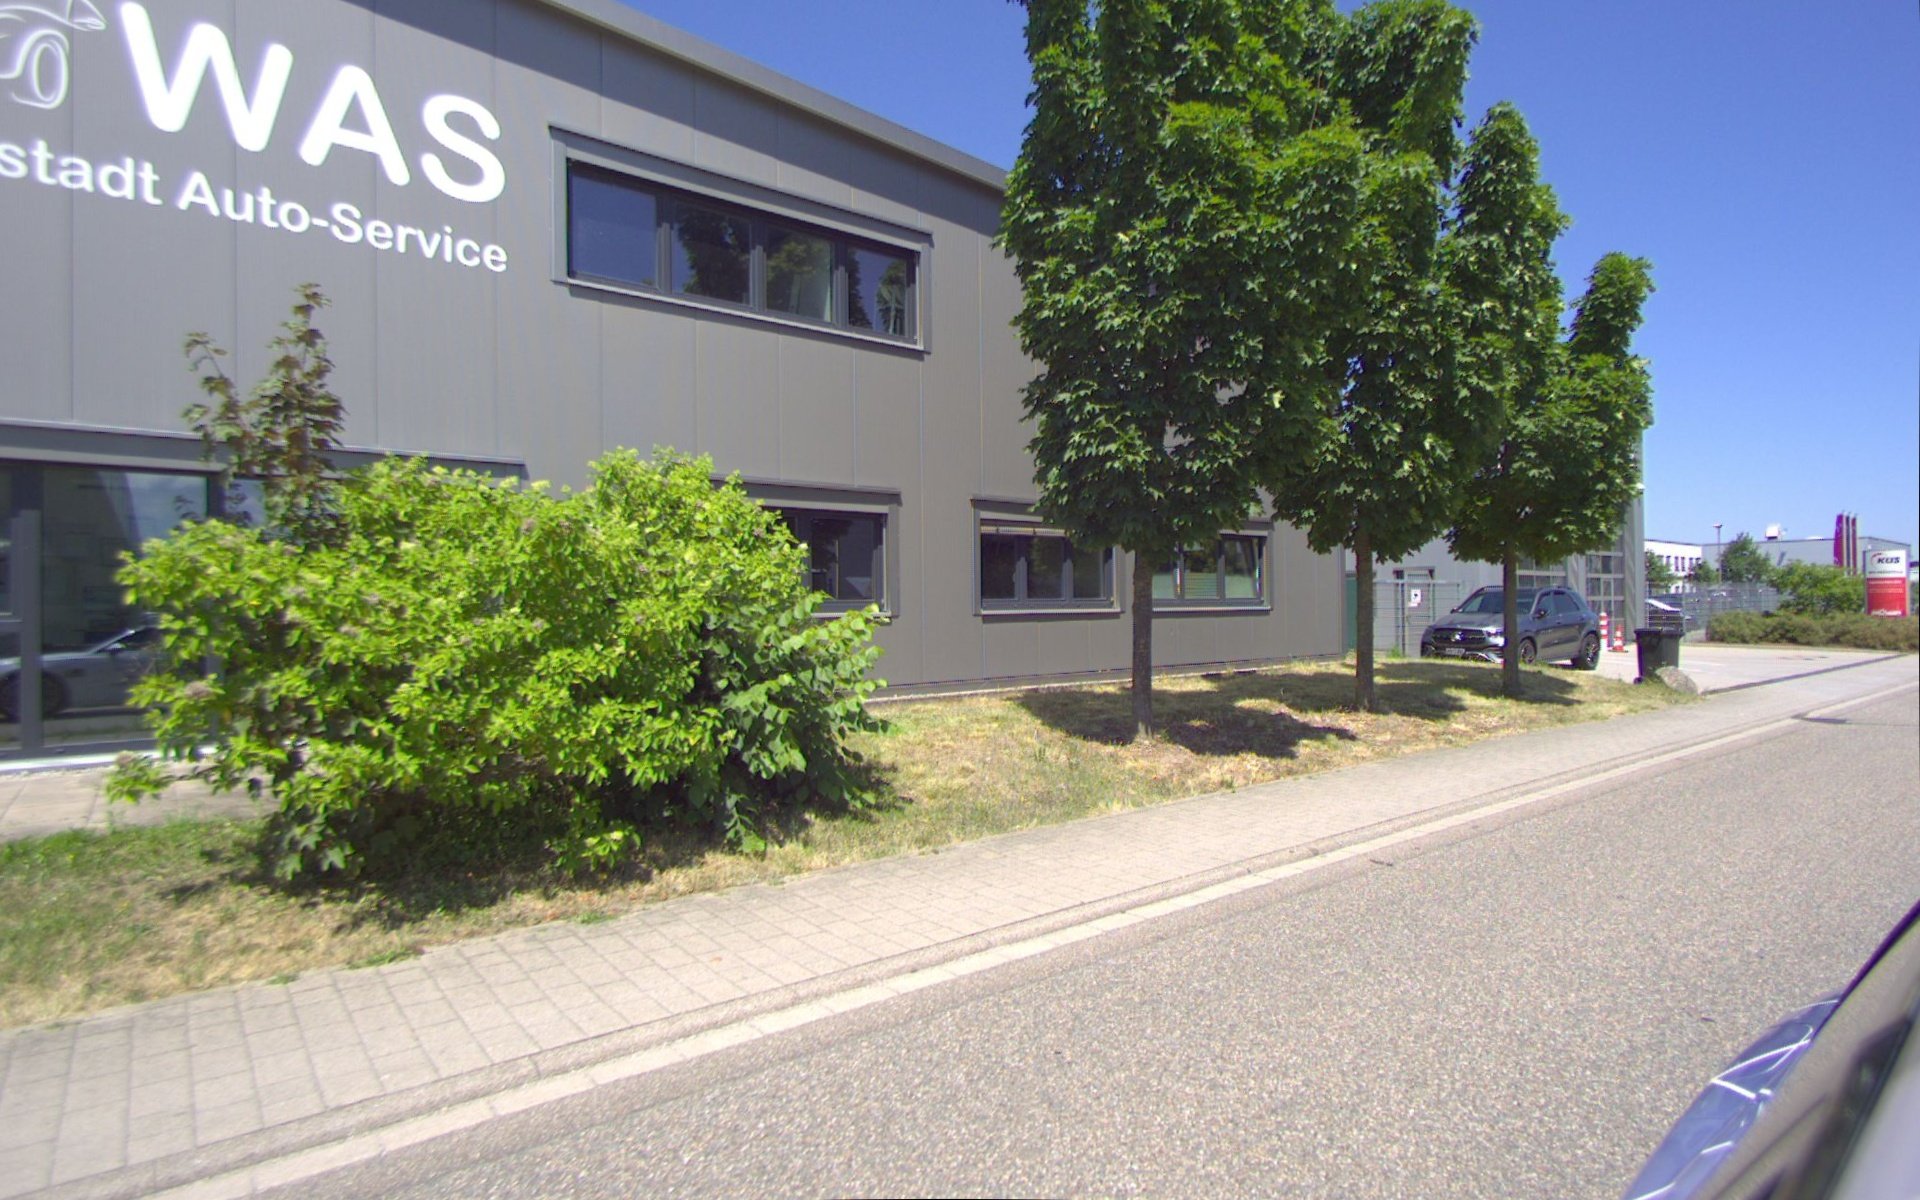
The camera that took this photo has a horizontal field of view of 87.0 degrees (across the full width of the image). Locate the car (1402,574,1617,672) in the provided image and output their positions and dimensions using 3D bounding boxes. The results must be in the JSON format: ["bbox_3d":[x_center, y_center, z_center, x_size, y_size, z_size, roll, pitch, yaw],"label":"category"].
[{"bbox_3d":[11.583,0.379,21.211,4.823,1.833,2.158,-1,1,-37],"label":"car"}]

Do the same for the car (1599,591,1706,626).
[{"bbox_3d":[28.883,0.367,42.264,1.763,1.387,3.353,0,-1,-43],"label":"car"}]

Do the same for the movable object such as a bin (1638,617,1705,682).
[{"bbox_3d":[12.092,0.829,17.213,0.793,1.059,0.618,-1,0,-27],"label":"movable object such as a bin"}]
